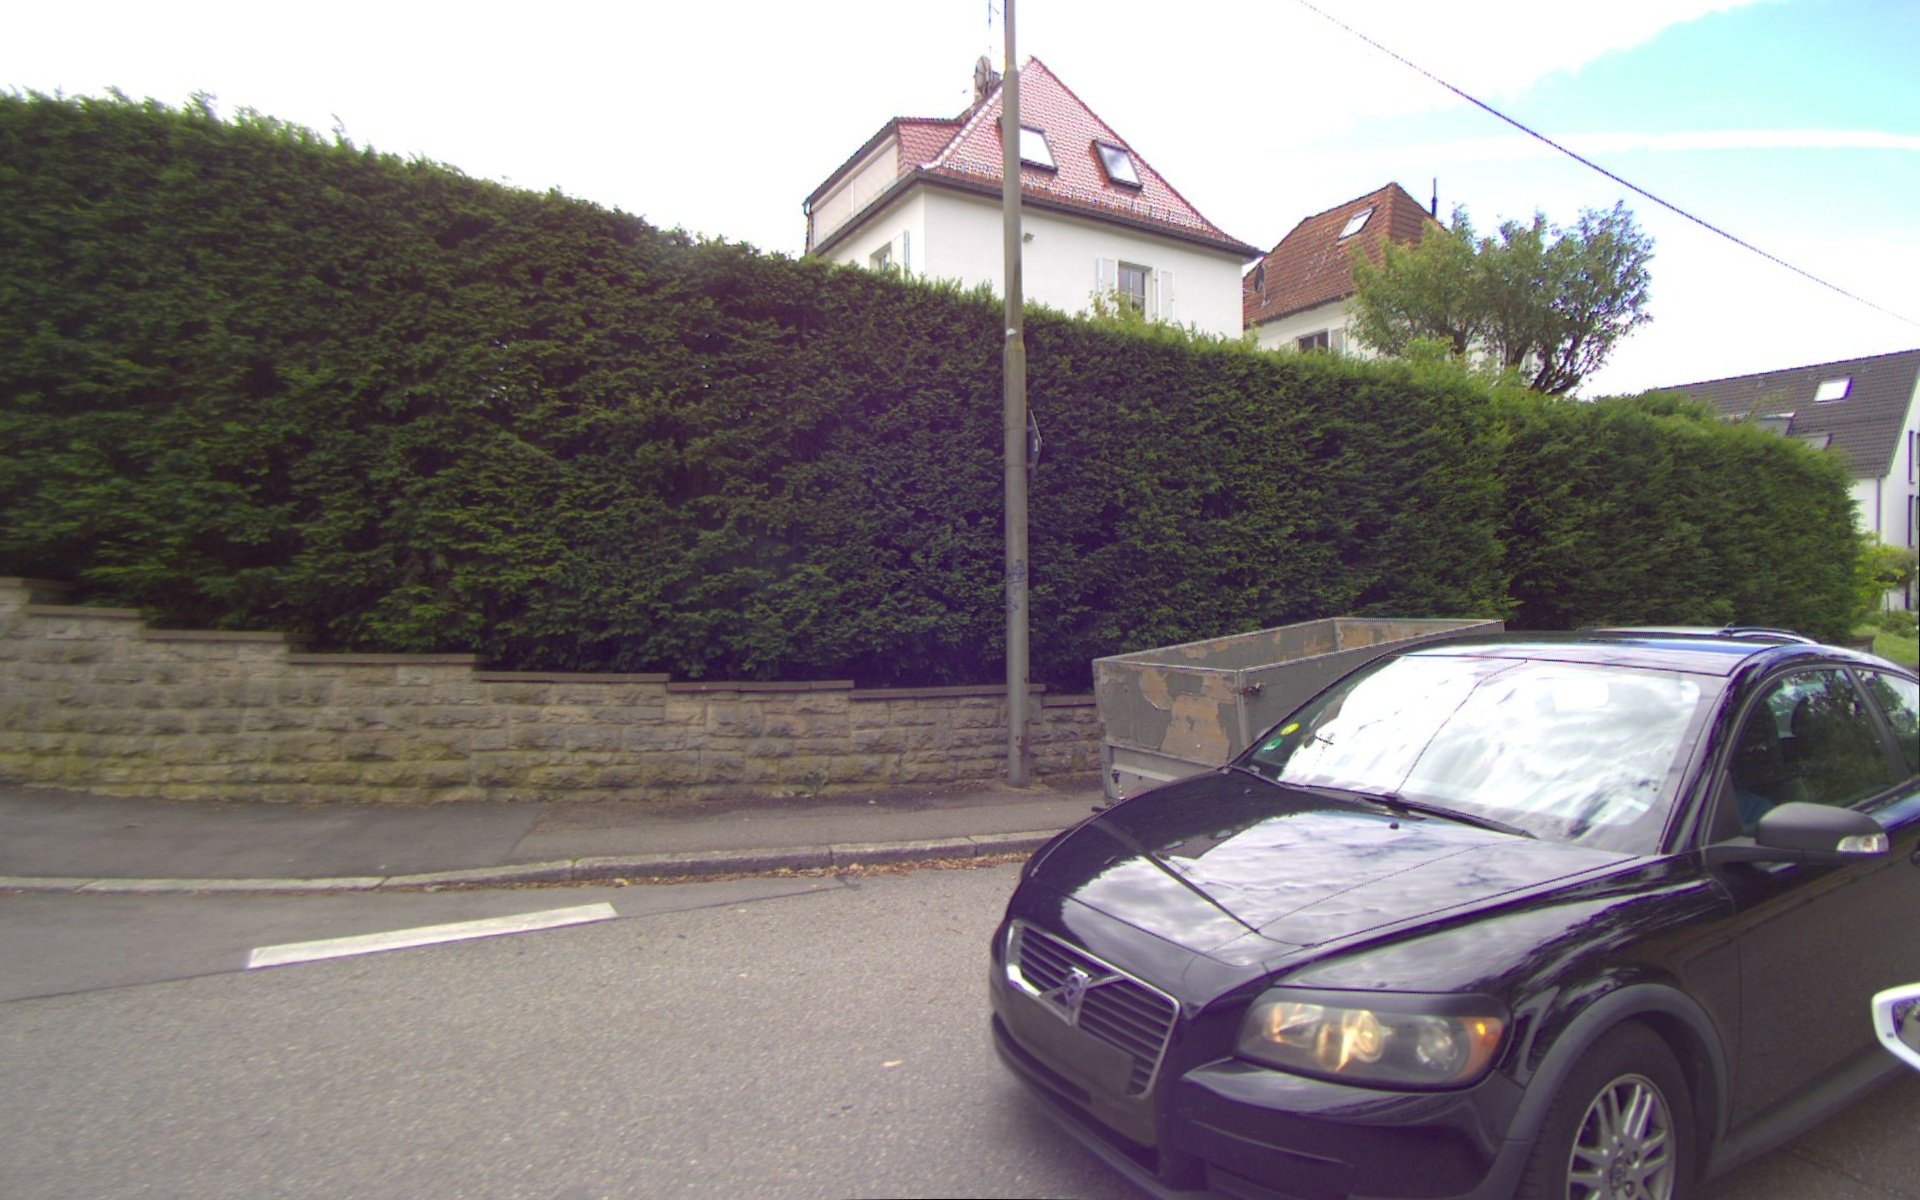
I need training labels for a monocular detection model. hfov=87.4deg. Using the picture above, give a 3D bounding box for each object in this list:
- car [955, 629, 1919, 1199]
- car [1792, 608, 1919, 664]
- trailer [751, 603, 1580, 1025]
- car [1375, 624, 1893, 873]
[{"bbox_3d":[2.321,0.860,3.539,4.422,1.465,1.754,1,-1,-31],"label":"car"},{"bbox_3d":[31.322,1.198,34.305,1.979,1.720,4.097,-2,1,-33],"label":"car"},{"bbox_3d":[1.274,0.814,5.498,4.421,1.516,1.755,1,-1,-30],"label":"trailer"},{"bbox_3d":[5.500,0.973,8.052,4.422,1.519,1.755,1,-2,-31],"label":"car"}]
